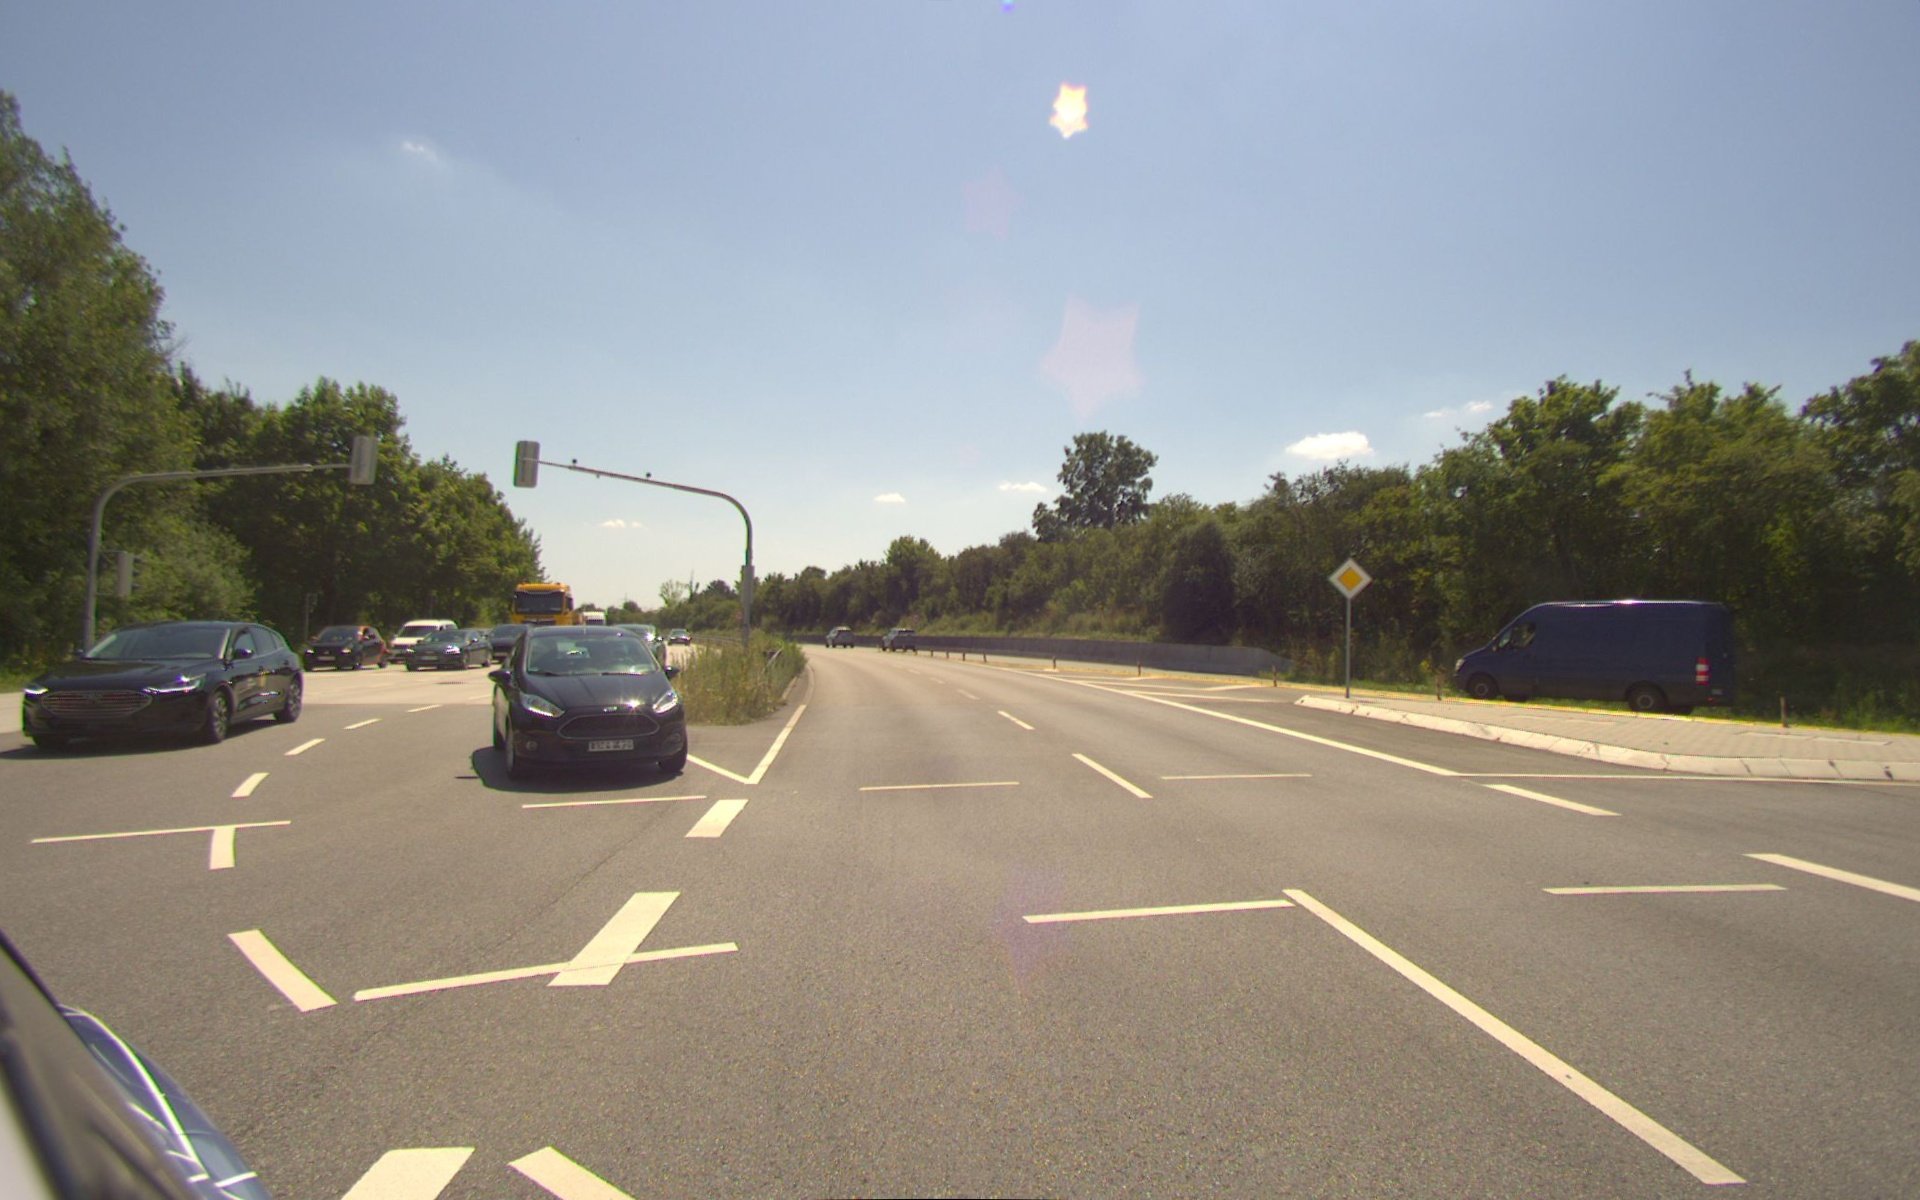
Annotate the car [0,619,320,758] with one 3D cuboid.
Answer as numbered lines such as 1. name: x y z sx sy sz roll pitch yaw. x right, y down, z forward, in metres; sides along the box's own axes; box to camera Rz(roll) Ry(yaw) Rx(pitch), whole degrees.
1. car: -9.842 1.014 12.863 1.703 1.450 4.316 1 -2 -16

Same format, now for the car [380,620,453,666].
1. car: -23.048 1.790 43.084 1.743 1.821 4.806 1 -2 -16

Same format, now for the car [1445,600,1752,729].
1. car: 15.119 1.443 24.389 2.032 2.725 5.909 2 -2 -37

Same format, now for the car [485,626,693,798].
1. car: -4.174 1.040 10.993 1.600 1.496 4.013 1 -2 -27

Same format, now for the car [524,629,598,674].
1. car: -13.905 1.755 35.479 1.860 1.475 4.010 1 -2 -13

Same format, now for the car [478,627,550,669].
1. car: -18.488 1.955 42.119 1.760 1.652 4.658 1 -2 -11

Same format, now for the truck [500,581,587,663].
1. truck: -20.779 1.163 50.880 2.972 3.801 7.490 1 -2 -14

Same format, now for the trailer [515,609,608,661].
1. trailer: -22.882 2.069 59.032 2.986 2.613 16.400 1 -2 -14

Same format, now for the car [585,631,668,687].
1. car: -9.571 1.655 29.335 1.680 1.475 4.008 1 -2 -9

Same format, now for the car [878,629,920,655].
1. car: -4.384 2.971 72.180 1.966 1.705 4.670 1 -2 -16

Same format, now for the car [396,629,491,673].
1. car: -17.782 1.719 35.064 1.744 1.421 4.620 1 -2 -11

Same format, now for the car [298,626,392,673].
1. car: -21.197 1.680 35.029 1.743 1.521 3.661 1 -2 -14

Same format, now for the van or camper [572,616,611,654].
1. van or camper: -26.373 2.504 72.539 2.035 2.593 5.924 1 -2 -14

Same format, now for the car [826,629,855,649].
1. car: -10.800 3.518 91.364 1.966 1.786 4.871 1 -2 -14
